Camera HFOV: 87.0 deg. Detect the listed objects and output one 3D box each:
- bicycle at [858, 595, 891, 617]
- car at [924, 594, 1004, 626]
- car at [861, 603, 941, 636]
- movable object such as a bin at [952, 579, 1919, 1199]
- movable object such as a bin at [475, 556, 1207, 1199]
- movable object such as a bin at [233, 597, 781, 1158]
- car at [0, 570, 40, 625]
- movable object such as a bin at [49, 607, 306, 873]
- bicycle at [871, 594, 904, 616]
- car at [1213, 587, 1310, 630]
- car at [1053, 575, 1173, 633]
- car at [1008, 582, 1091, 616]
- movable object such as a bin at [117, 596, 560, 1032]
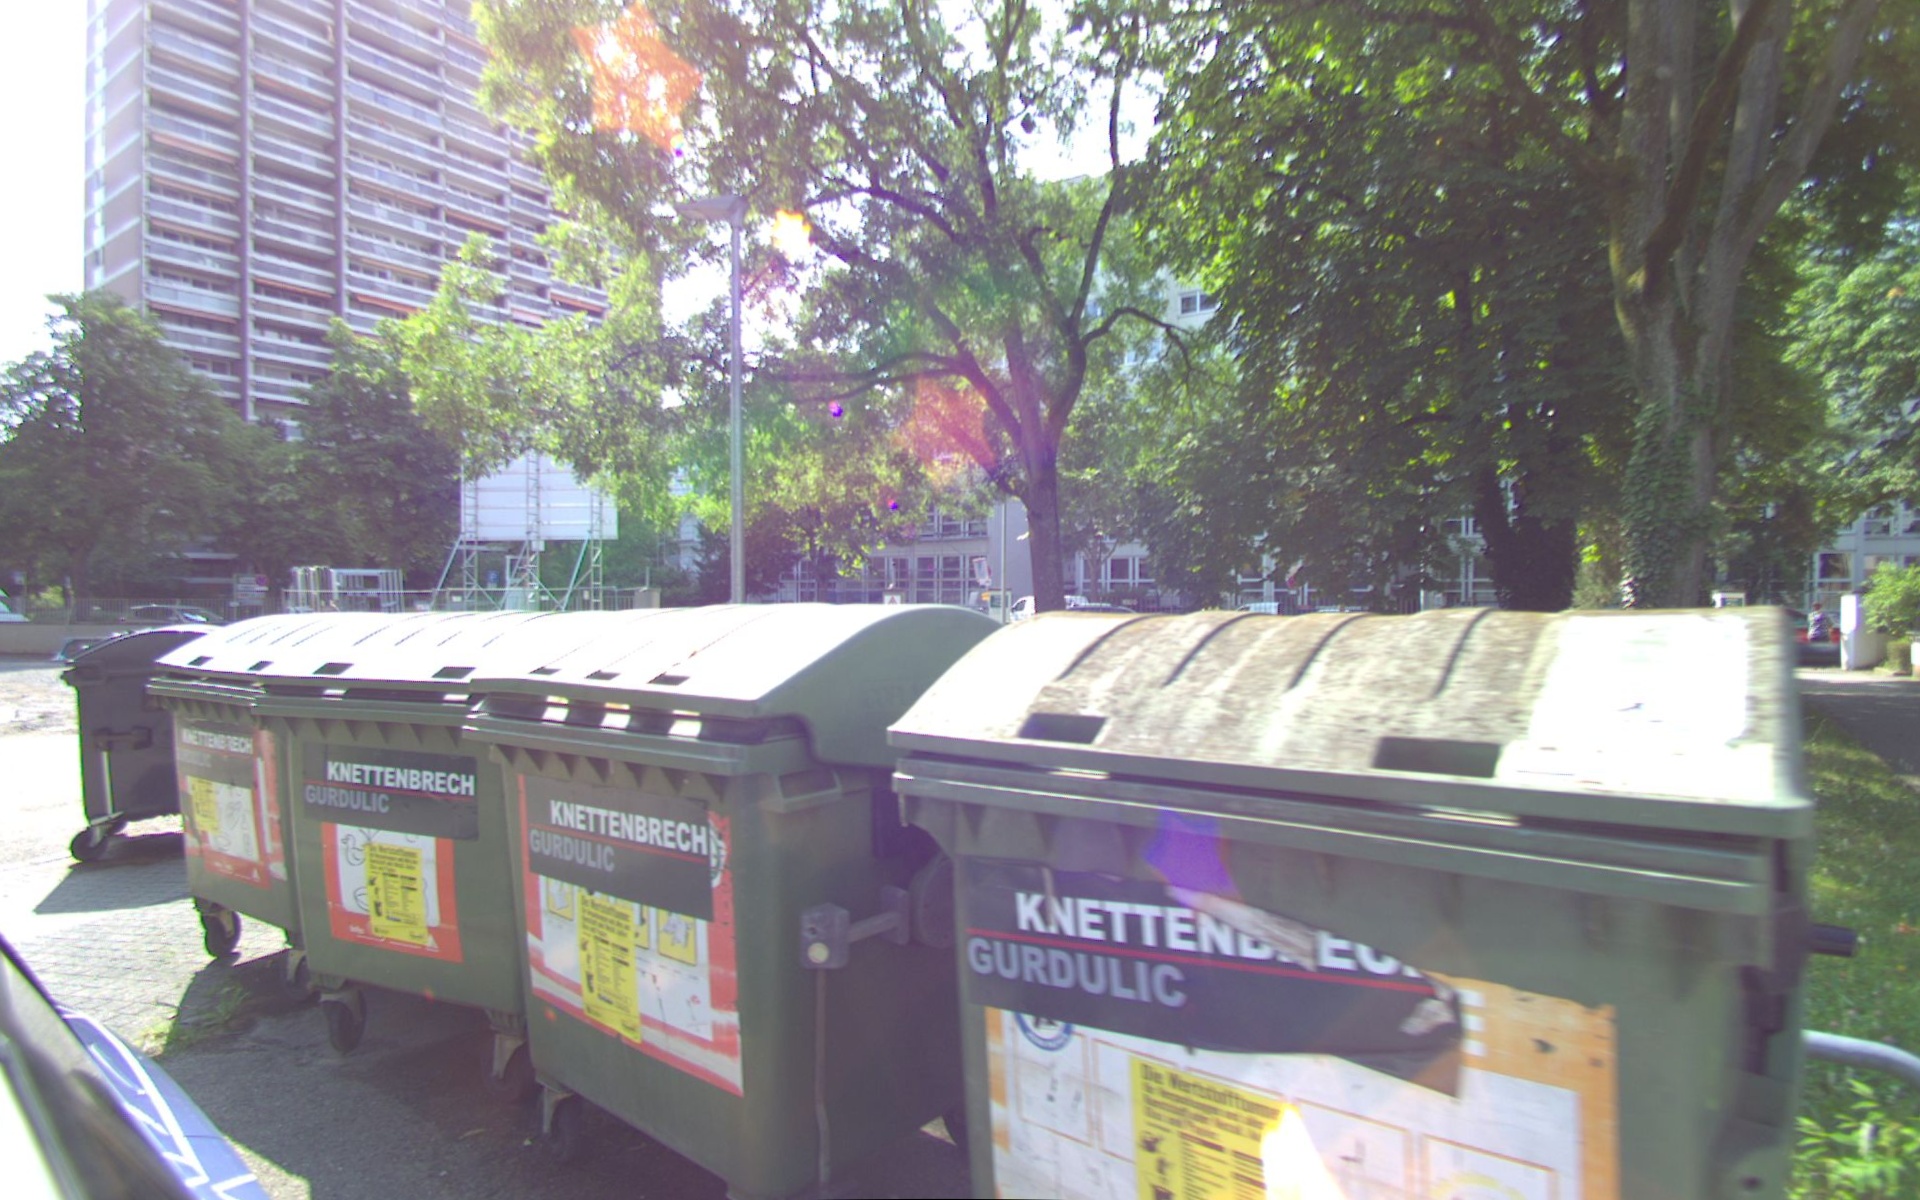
[{"bbox_3d":[-4.710,0.305,56.021,0.496,1.095,2.030,-2,1,38],"label":"bicycle"},{"bbox_3d":[0.132,0.490,48.277,1.721,1.408,4.010,-4,1,-36],"label":"car"},{"bbox_3d":[-2.871,0.953,48.775,1.754,1.475,4.244,3,-3,-38],"label":"car"},{"bbox_3d":[0.881,0.739,1.590,1.341,1.462,1.089,-2,1,39],"label":"movable object such as a bin"},{"bbox_3d":[-0.275,0.668,2.536,1.281,1.462,1.212,-2,1,40],"label":"movable object such as a bin"},{"bbox_3d":[-1.459,0.765,3.434,1.225,1.462,1.095,-3,1,22],"label":"movable object such as a bin"},{"bbox_3d":[-38.112,-0.135,38.408,5.251,2.029,1.993,1,0,11],"label":"car"},{"bbox_3d":[-5.164,0.830,6.817,1.229,1.493,1.299,-2,2,-34],"label":"movable object such as a bin"},{"bbox_3d":[-3.972,0.255,55.662,0.496,1.095,2.030,-2,1,38],"label":"bicycle"},{"bbox_3d":[13.529,0.389,45.510,1.853,1.725,3.767,-4,1,-36],"label":"car"},{"bbox_3d":[4.730,0.131,31.379,3.544,1.624,1.675,2,-1,9],"label":"car"},{"bbox_3d":[4.068,-0.046,46.557,1.720,1.408,4.012,-4,1,-32],"label":"car"},{"bbox_3d":[-2.630,0.761,4.316,1.339,1.462,1.091,-2,1,34],"label":"movable object such as a bin"}]
